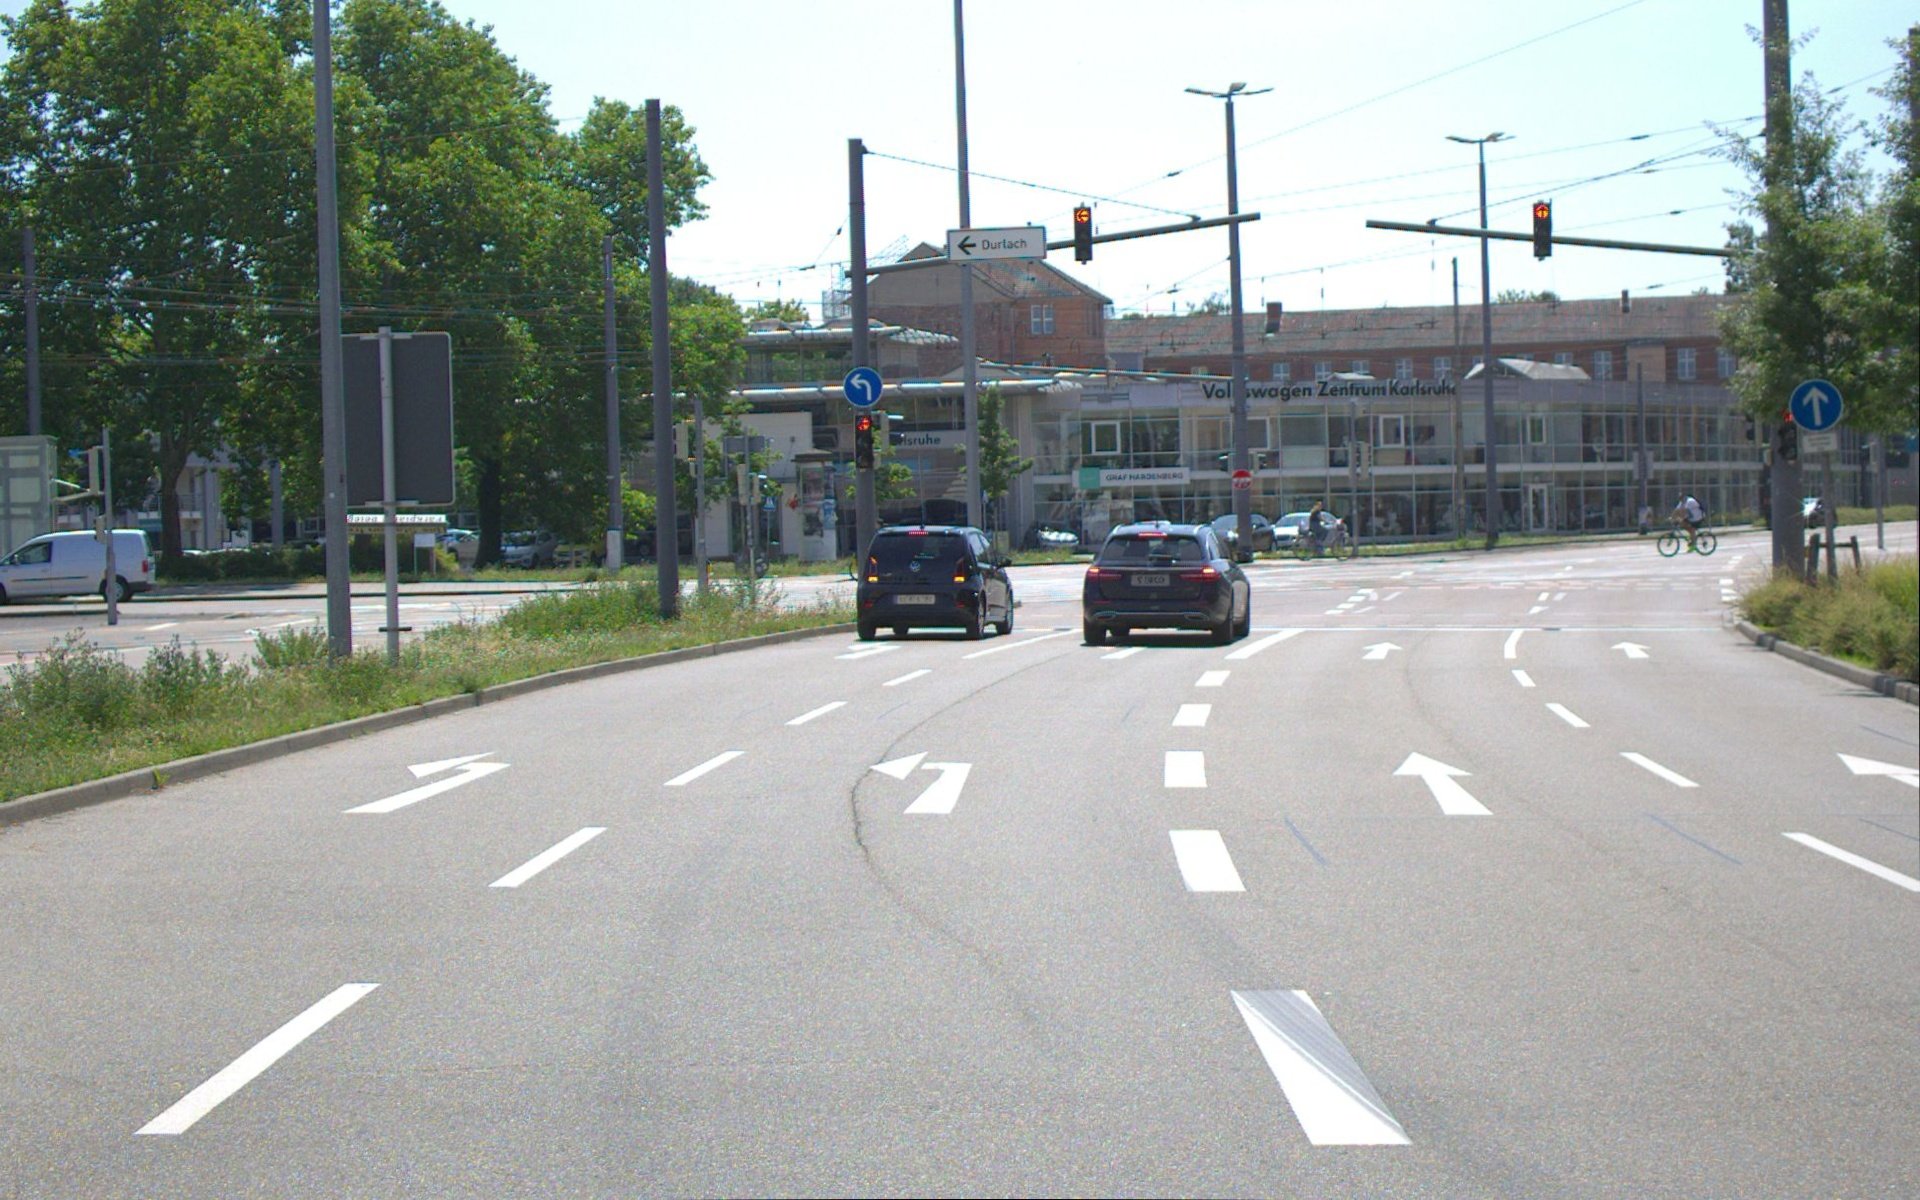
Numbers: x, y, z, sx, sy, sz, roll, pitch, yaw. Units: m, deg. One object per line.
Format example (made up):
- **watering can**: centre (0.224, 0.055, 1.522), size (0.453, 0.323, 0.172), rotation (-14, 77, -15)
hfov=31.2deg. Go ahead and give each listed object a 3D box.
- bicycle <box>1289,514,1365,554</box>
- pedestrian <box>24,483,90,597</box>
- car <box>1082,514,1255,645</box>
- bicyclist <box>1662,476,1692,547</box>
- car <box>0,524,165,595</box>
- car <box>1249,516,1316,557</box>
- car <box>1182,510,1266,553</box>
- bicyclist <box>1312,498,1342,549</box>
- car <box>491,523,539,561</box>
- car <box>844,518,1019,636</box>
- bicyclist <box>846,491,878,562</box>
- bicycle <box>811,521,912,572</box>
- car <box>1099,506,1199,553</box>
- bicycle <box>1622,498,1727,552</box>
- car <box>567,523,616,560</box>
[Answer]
- **bicycle**: centre (10.801, -1.947, 101.261), size (2.160, 1.103, 0.457), rotation (-1, 3, -8)
- **pedestrian**: centre (-23.638, -1.577, 90.019), size (1.214, 2.927, 1.336), rotation (0, 3, 7)
- **car**: centre (2.719, -0.301, 43.988), size (1.717, 1.551, 4.585), rotation (-1, 1, 9)
- **bicyclist**: centre (19.918, -2.463, 95.545), size (0.763, 1.931, 0.660), rotation (0, 3, 8)
- **car**: centre (-22.166, -1.025, 85.980), size (4.305, 1.621, 1.815), rotation (-1, 3, -10)
- **car**: centre (11.311, -2.234, 120.368), size (1.433, 1.281, 3.258), rotation (1, 4, 22)
- **car**: centre (8.785, -2.304, 114.354), size (1.540, 1.273, 3.534), rotation (1, 4, 27)
- **bicyclist**: centre (10.801, -2.253, 101.230), size (0.731, 1.474, 0.656), rotation (-1, 3, -9)
- **car**: centre (-19.497, -2.564, 150.773), size (1.425, 1.503, 3.438), rotation (-1, 3, 4)
- **car**: centre (-0.324, -0.336, 45.505), size (1.622, 1.458, 3.999), rotation (-1, 1, 10)
- **bicyclist**: centre (-2.774, -2.080, 97.196), size (0.846, 1.958, 0.626), rotation (-1, 3, 3)
- **bicycle**: centre (-2.786, -1.507, 97.221), size (2.775, 1.380, 0.671), rotation (-1, 3, 3)
- **car**: centre (5.985, -2.241, 108.554), size (1.622, 1.385, 4.119), rotation (-1, 2, 27)
- **bicycle**: centre (19.847, -2.096, 95.578), size (2.826, 1.458, 0.634), rotation (0, 3, 8)
- **car**: centre (-16.058, -2.557, 149.867), size (1.510, 1.413, 3.421), rotation (-1, 3, 4)
